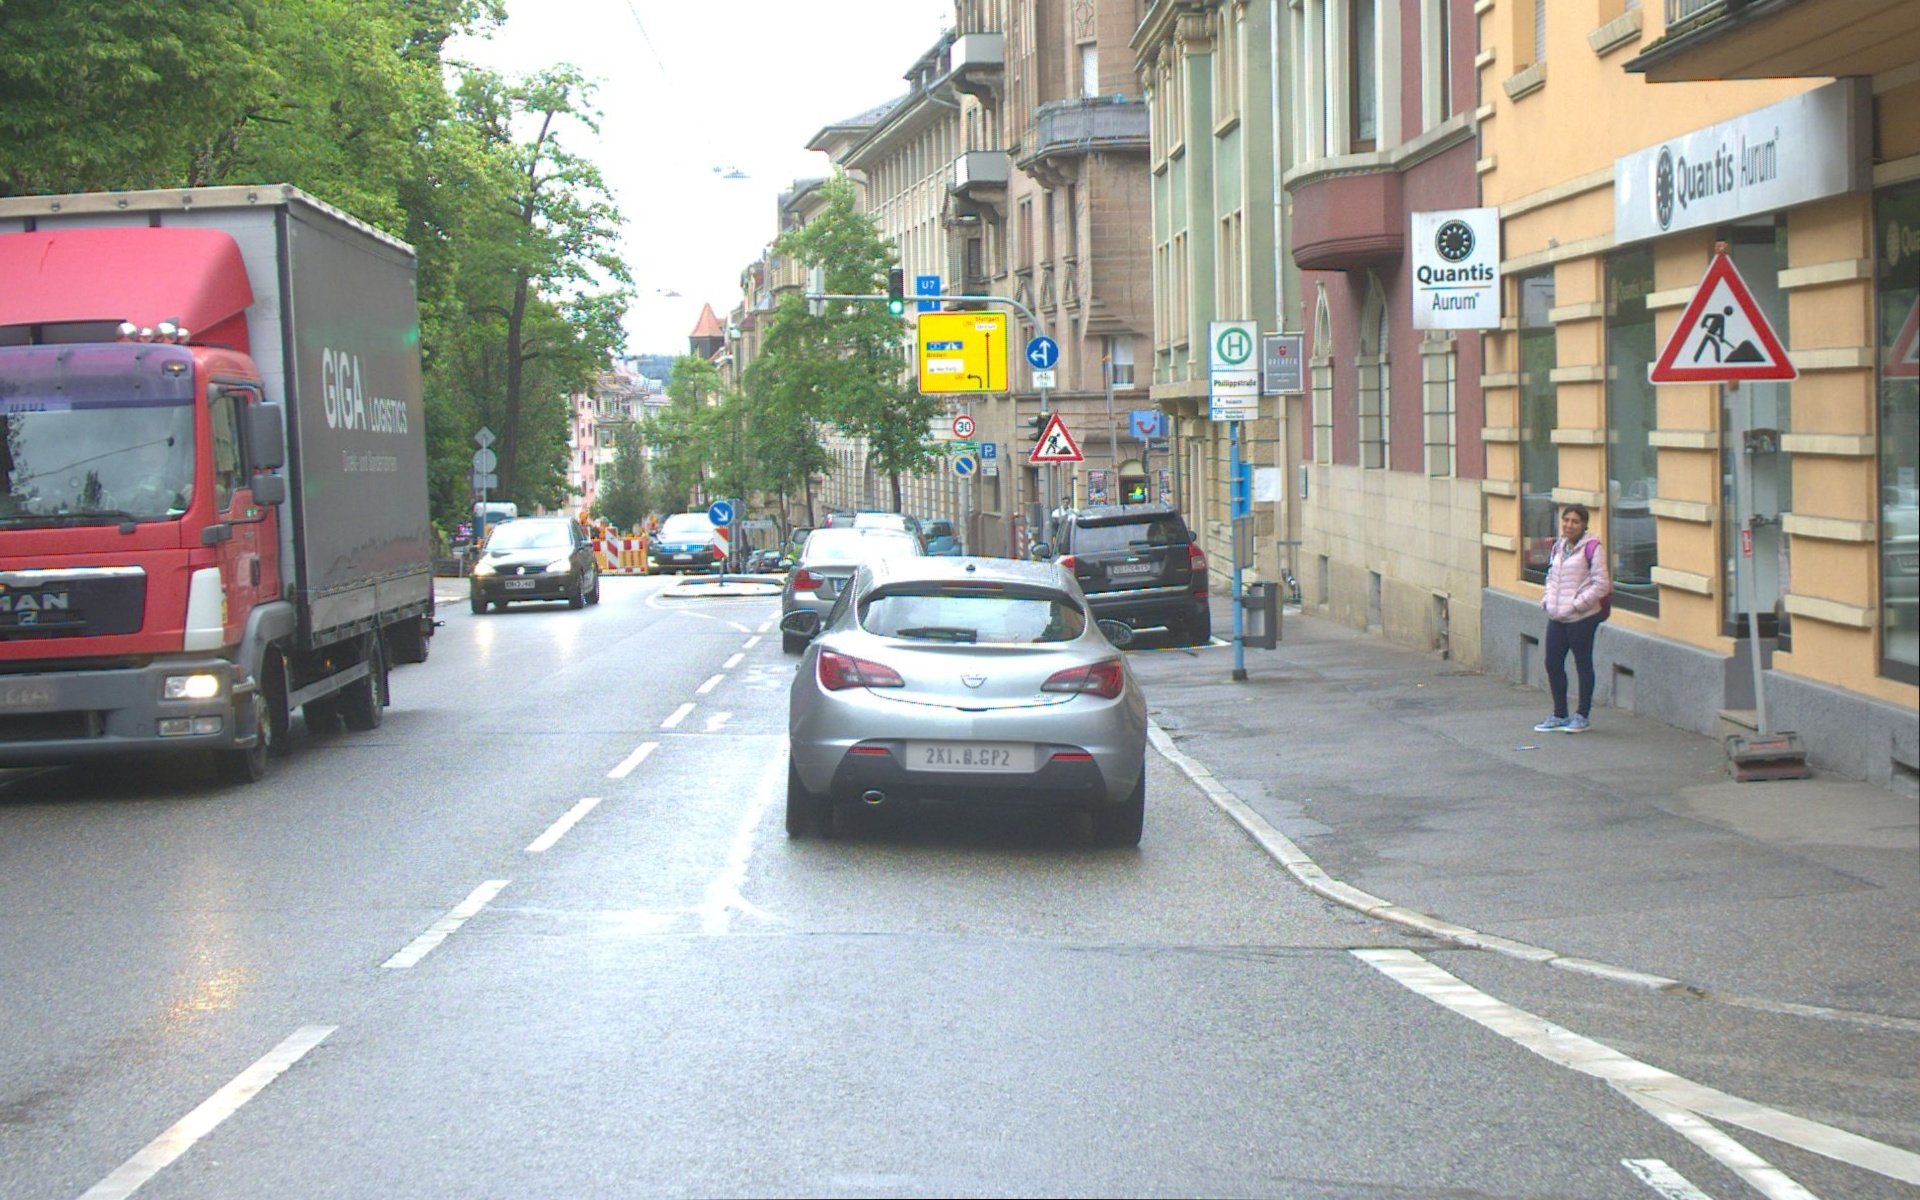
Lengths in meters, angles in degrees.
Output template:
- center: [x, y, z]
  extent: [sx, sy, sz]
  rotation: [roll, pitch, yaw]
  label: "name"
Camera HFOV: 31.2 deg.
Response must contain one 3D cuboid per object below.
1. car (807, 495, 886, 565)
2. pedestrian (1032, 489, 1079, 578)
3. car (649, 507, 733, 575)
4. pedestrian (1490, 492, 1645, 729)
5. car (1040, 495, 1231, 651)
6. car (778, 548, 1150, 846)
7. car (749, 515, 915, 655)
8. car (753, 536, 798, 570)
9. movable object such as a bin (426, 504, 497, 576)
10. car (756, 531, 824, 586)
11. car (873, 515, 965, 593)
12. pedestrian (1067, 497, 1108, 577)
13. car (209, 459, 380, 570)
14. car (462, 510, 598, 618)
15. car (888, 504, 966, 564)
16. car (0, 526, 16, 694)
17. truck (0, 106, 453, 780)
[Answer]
- center: [-2.747, -1.664, 82.734]
  extent: [1.656, 1.537, 3.666]
  rotation: [-3, 1, -4]
  label: "car"
- center: [1.949, -1.359, 70.003]
  extent: [0.718, 1.768, 0.665]
  rotation: [-2, 2, 18]
  label: "pedestrian"
- center: [-6.195, -1.393, 79.480]
  extent: [1.815, 1.512, 4.549]
  rotation: [0, 1, -3]
  label: "car"
- center: [4.157, 0.066, 23.539]
  extent: [0.766, 1.584, 0.712]
  rotation: [-1, 1, -19]
  label: "pedestrian"
- center: [2.008, -0.332, 40.610]
  extent: [1.876, 1.624, 4.698]
  rotation: [-4, 1, 0]
  label: "car"
- center: [0.025, 0.453, 18.779]
  extent: [1.811, 1.444, 3.869]
  rotation: [1, 1, 0]
  label: "car"
- center: [-1.416, -0.185, 39.295]
  extent: [1.772, 1.499, 3.869]
  rotation: [1, 1, 0]
  label: "car"
- center: [-8.041, -2.038, 149.759]
  extent: [1.637, 1.424, 3.377]
  rotation: [-1, 1, -8]
  label: "car"
- center: [-16.240, -1.954, 112.058]
  extent: [1.993, 2.291, 2.816]
  rotation: [-1, 1, -4]
  label: "movable object such as a bin"
- center: [-5.098, -1.243, 102.989]
  extent: [1.656, 1.537, 3.666]
  rotation: [-3, 1, -8]
  label: "car"
- center: [-0.809, -0.913, 68.590]
  extent: [1.772, 1.499, 3.869]
  rotation: [1, 1, 0]
  label: "car"
- center: [2.586, -1.281, 69.755]
  extent: [0.597, 1.579, 0.665]
  rotation: [-2, 2, 18]
  label: "pedestrian"
- center: [-9.935, -1.253, 51.608]
  extent: [1.741, 1.554, 4.302]
  rotation: [1, 1, 0]
  label: "car"
- center: [-6.907, -0.617, 55.603]
  extent: [1.772, 1.512, 4.592]
  rotation: [-1, 3, -2]
  label: "car"
- center: [-0.944, -1.815, 95.648]
  extent: [1.656, 1.537, 3.666]
  rotation: [-3, 1, -8]
  label: "car"
- center: [-9.736, 0.097, 30.141]
  extent: [1.741, 1.554, 4.302]
  rotation: [1, 1, 0]
  label: "car"
- center: [-5.563, -0.979, 24.562]
  extent: [2.647, 3.841, 9.308]
  rotation: [-3, 1, -2]
  label: "truck"
